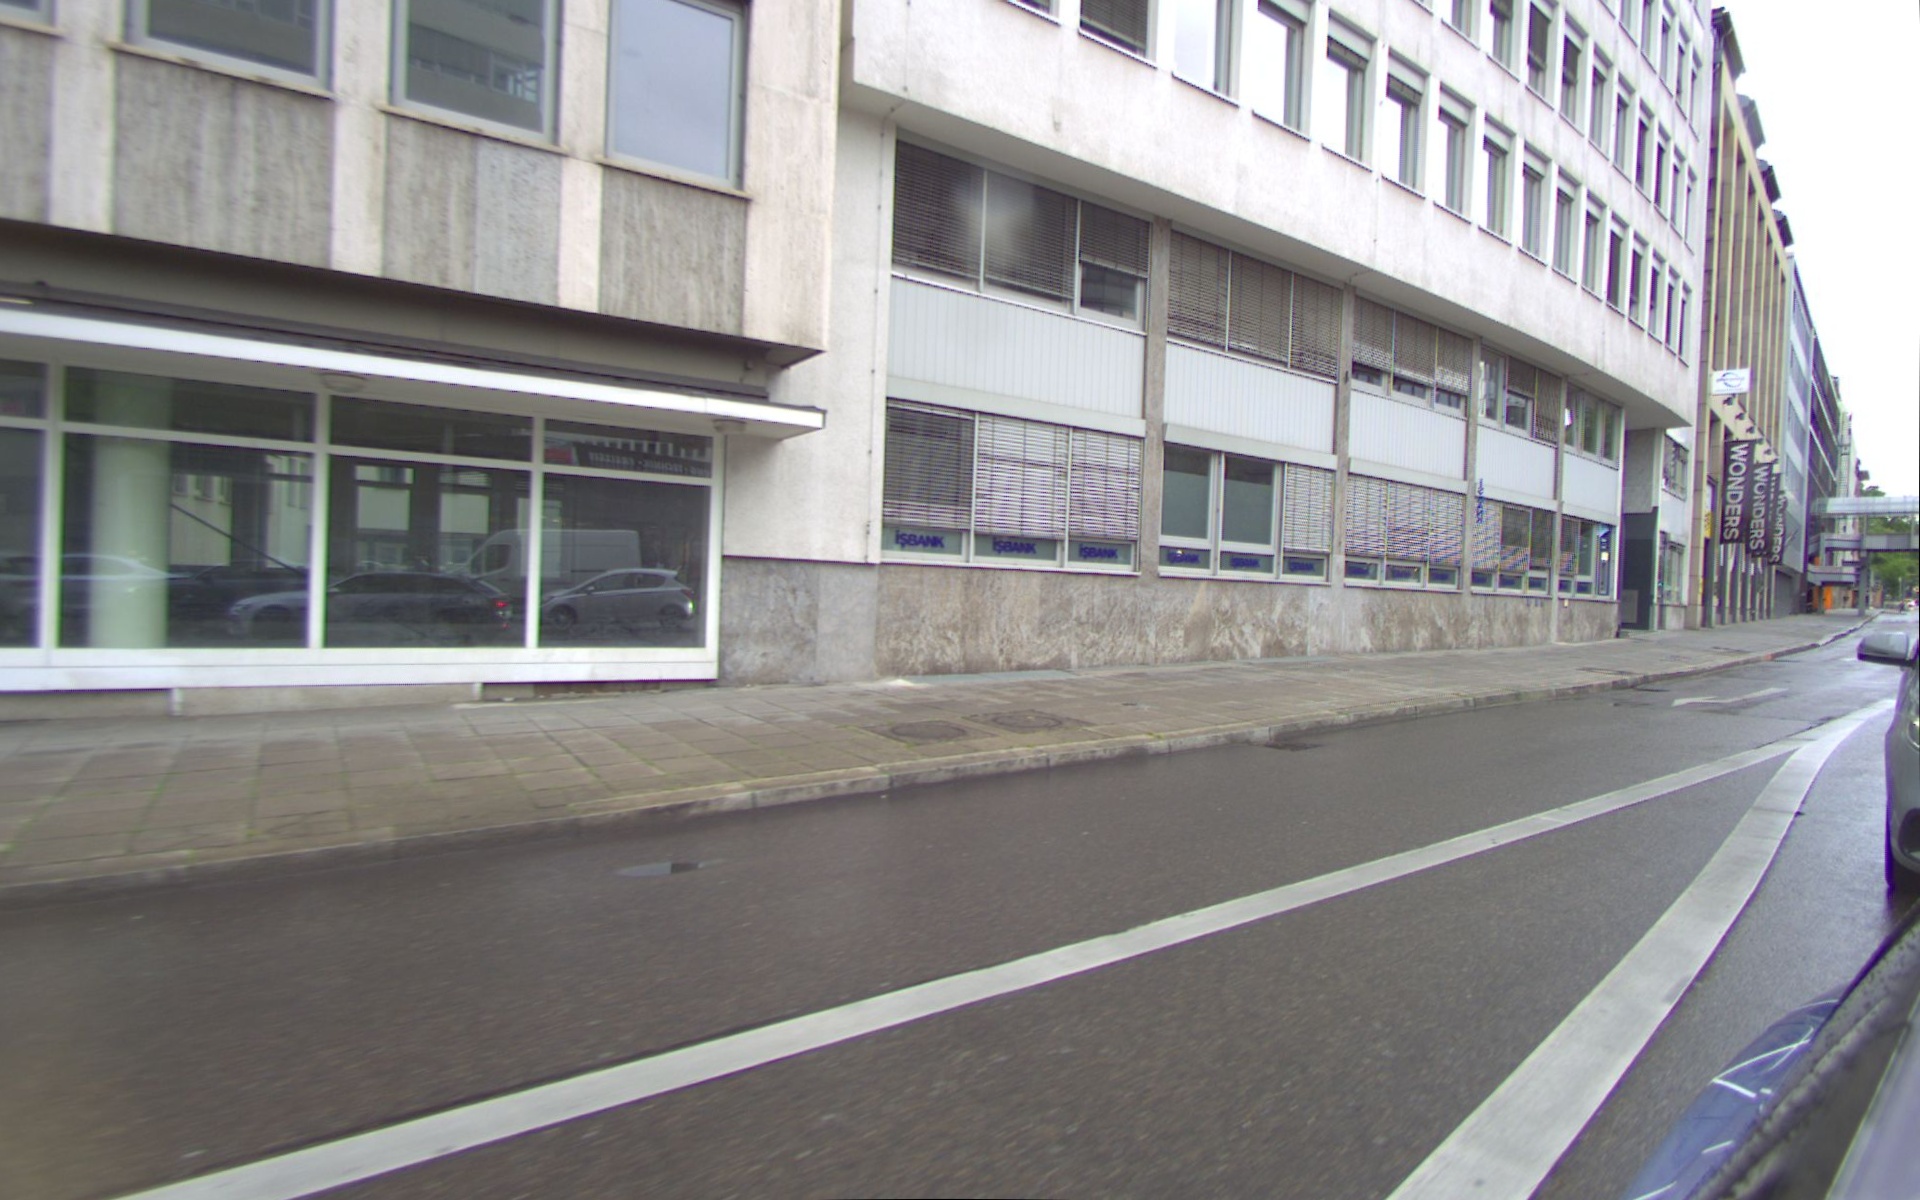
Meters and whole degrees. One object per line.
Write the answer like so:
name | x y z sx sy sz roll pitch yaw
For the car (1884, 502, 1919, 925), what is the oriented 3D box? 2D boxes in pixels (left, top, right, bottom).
car | 6.633 0.503 5.569 4.942 1.878 1.913 0 0 -43
